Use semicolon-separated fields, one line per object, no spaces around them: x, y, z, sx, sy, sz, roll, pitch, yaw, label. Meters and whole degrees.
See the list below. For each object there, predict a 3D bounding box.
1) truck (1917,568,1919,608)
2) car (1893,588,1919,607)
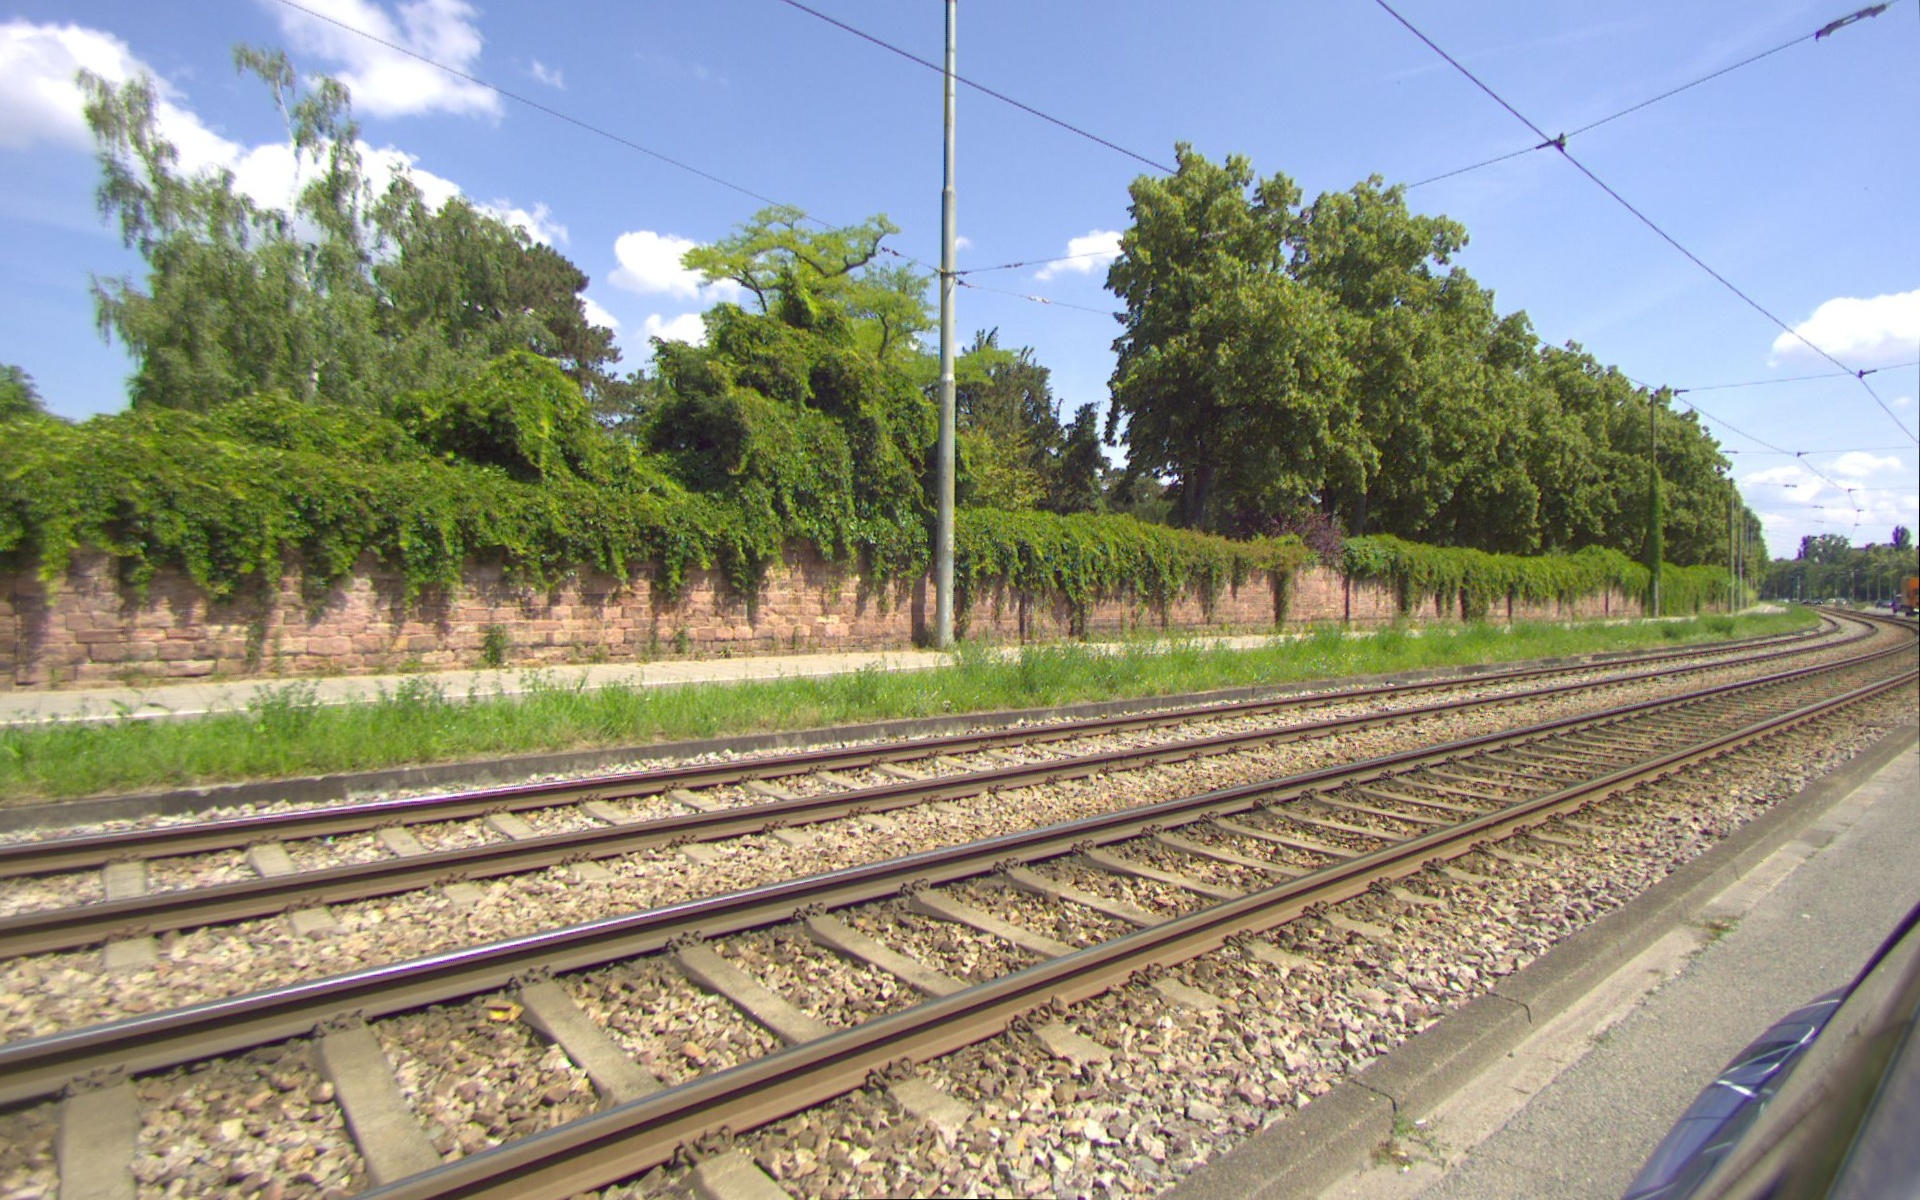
88.483;-1.081;91.289;2.836;3.640;8.576;0;1;41;truck
106.646;-0.286;114.111;1.991;2.039;3.941;0;1;41;car
